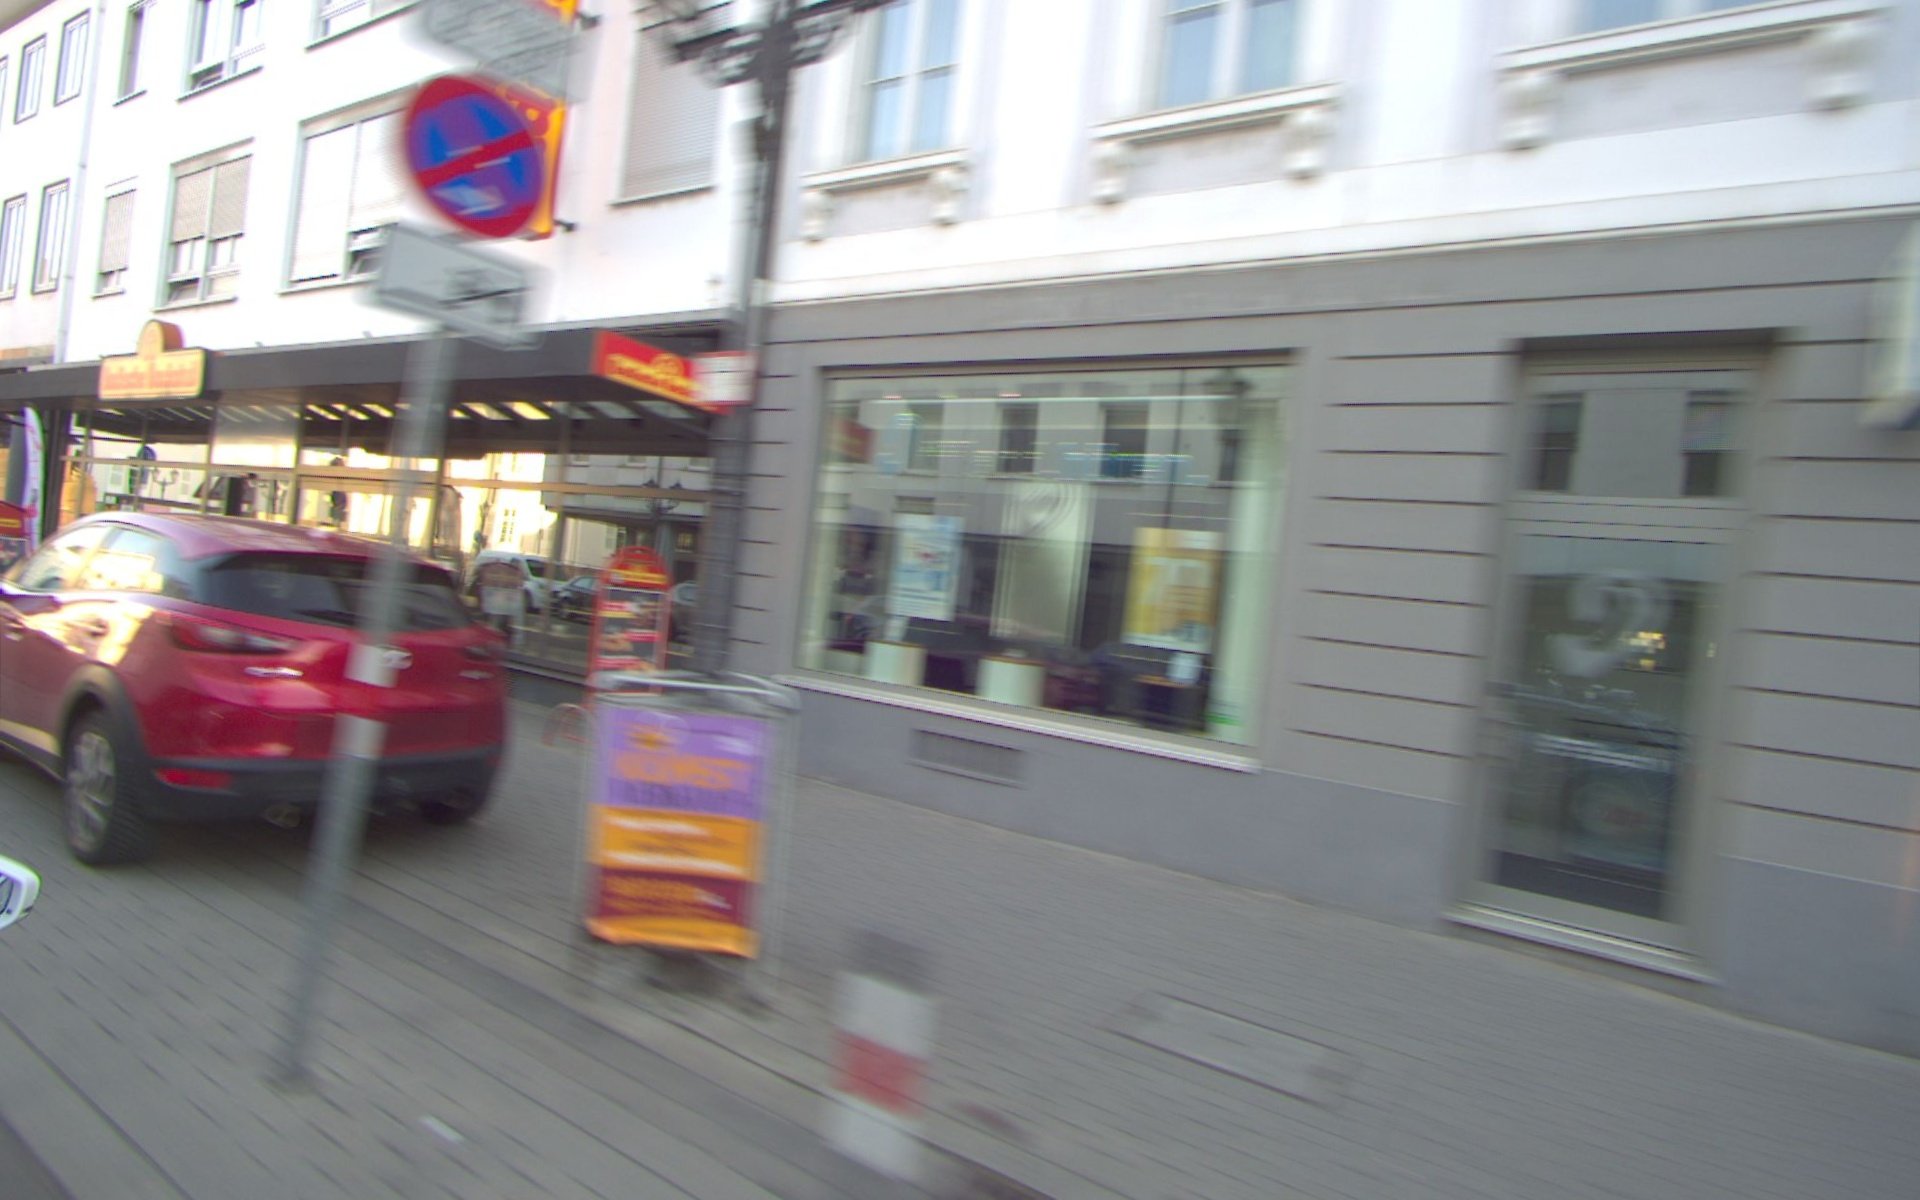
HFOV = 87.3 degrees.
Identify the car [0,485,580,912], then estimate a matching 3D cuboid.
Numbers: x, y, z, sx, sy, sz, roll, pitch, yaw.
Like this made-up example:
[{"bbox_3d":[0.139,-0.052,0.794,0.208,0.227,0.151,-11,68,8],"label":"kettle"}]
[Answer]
[{"bbox_3d":[-4.045,0.309,5.507,3.617,1.541,1.761,7,-1,33],"label":"car"}]
